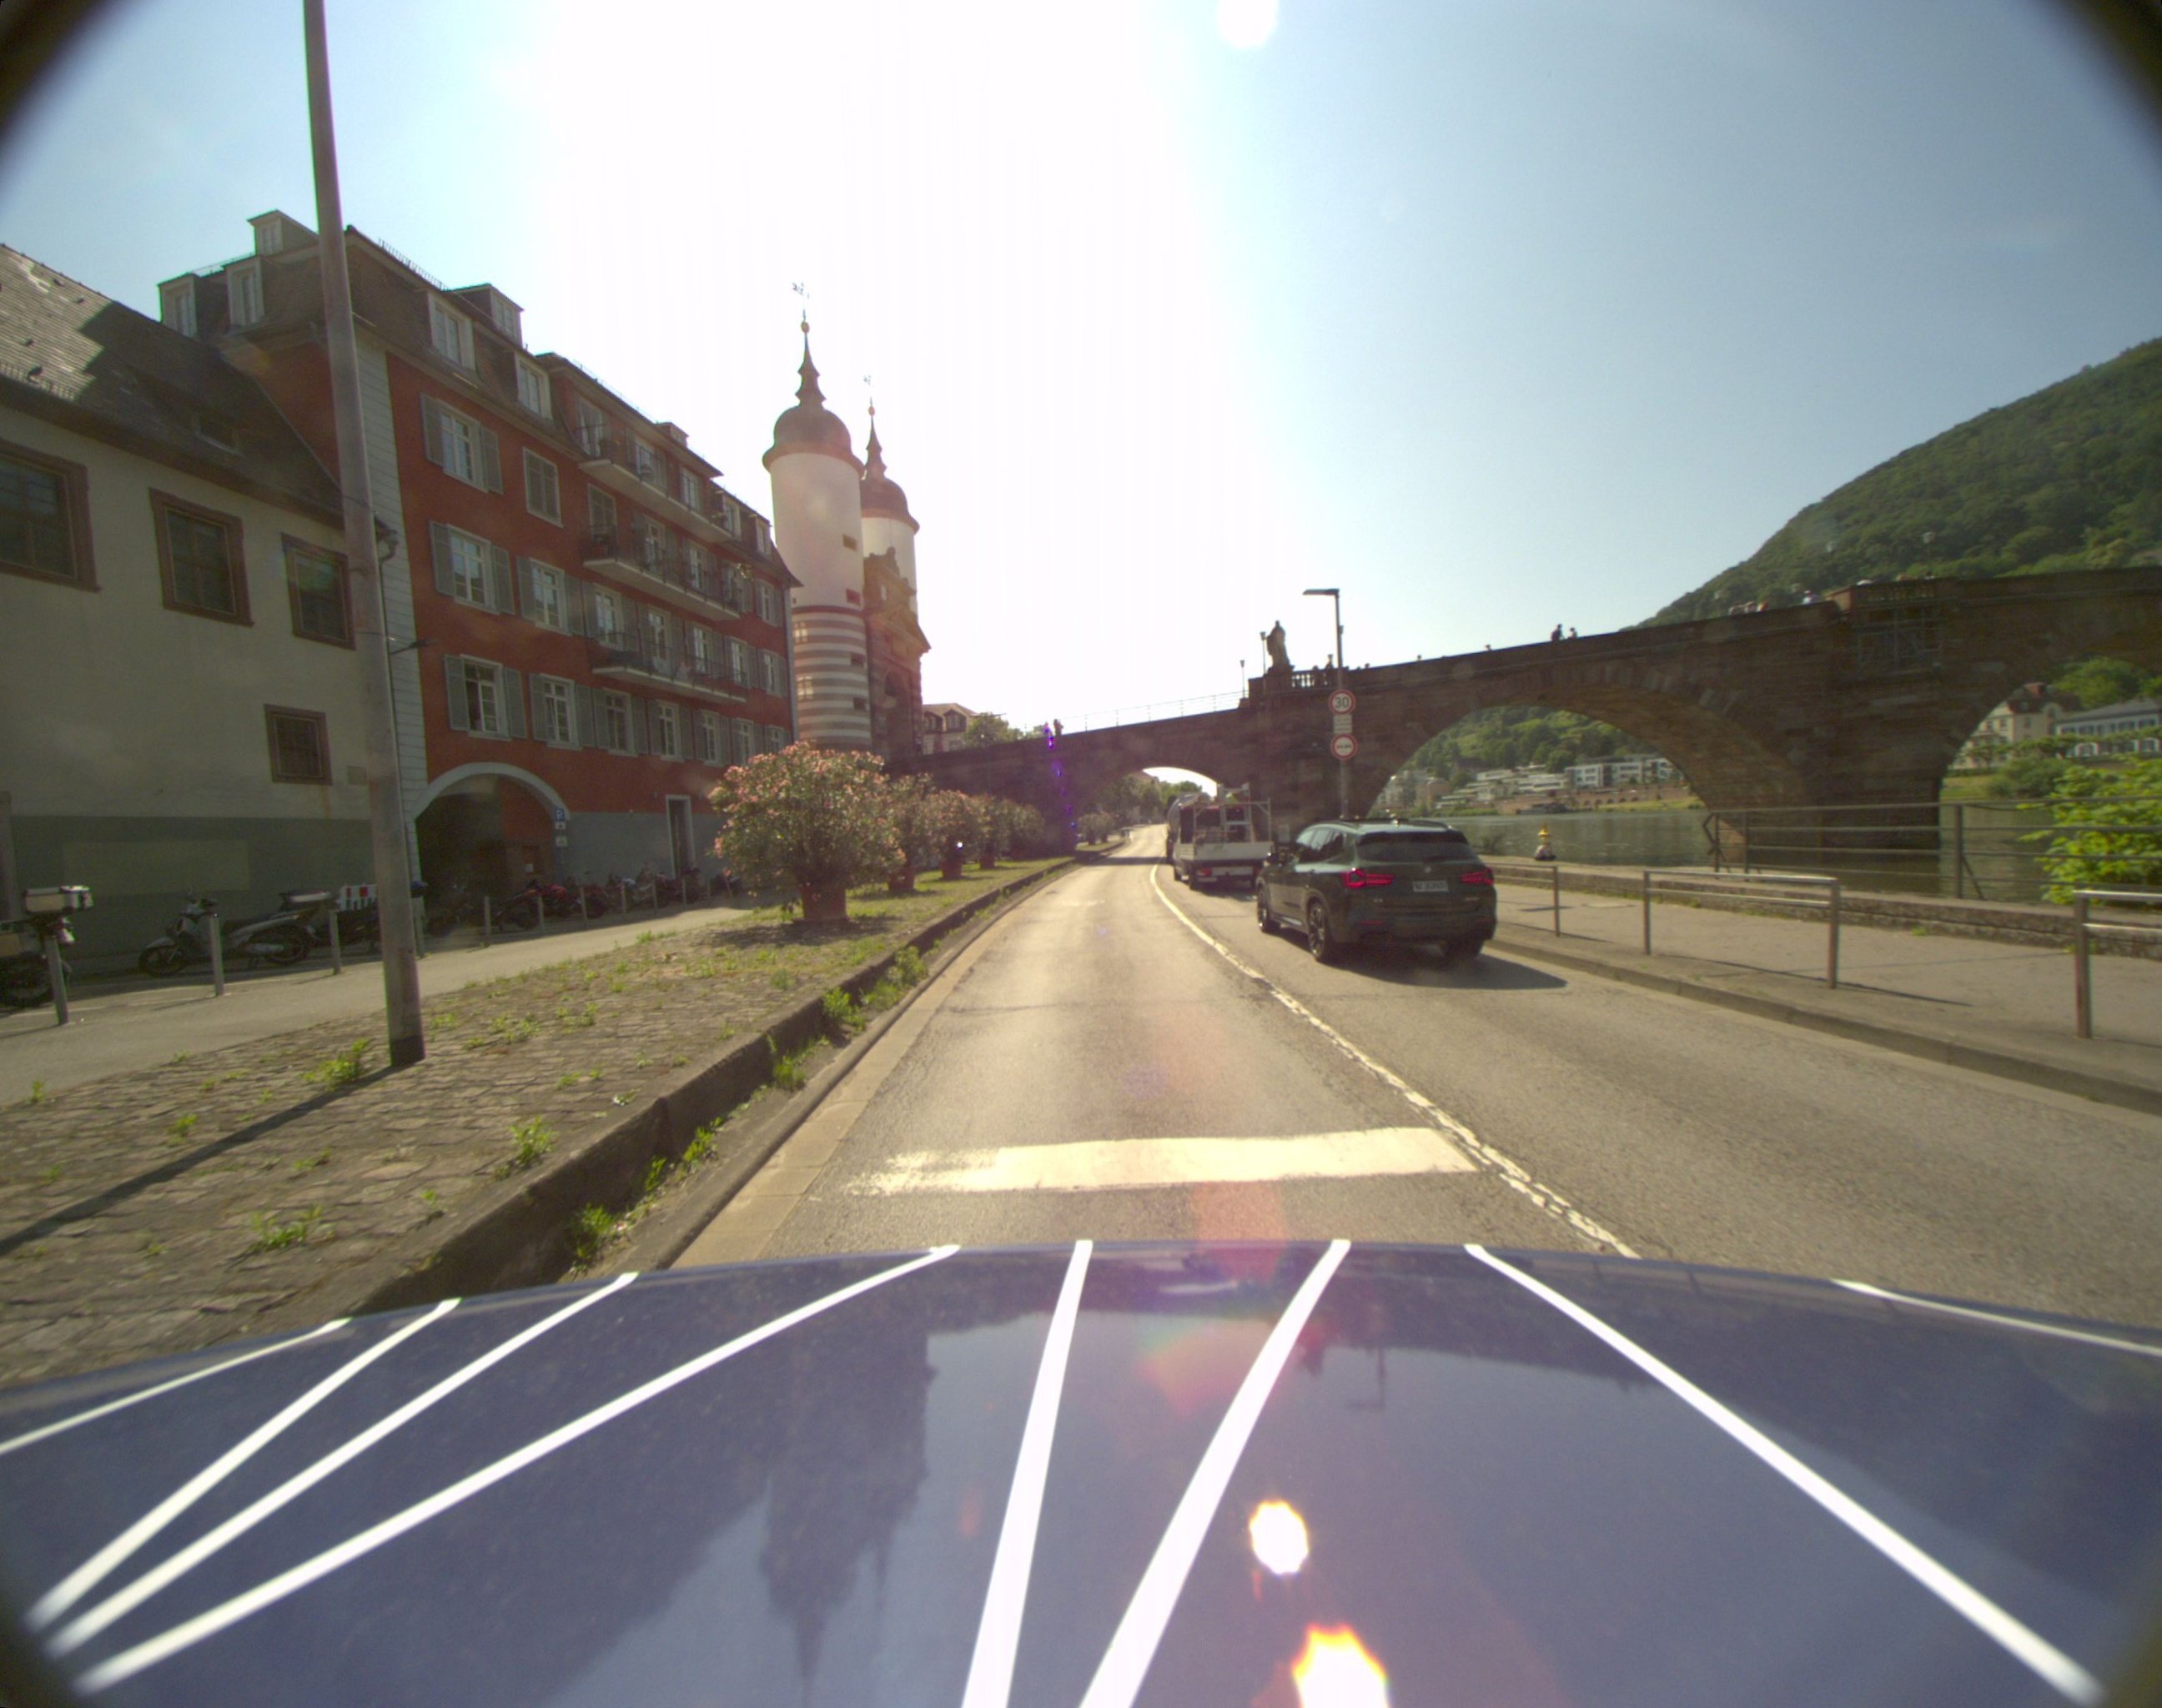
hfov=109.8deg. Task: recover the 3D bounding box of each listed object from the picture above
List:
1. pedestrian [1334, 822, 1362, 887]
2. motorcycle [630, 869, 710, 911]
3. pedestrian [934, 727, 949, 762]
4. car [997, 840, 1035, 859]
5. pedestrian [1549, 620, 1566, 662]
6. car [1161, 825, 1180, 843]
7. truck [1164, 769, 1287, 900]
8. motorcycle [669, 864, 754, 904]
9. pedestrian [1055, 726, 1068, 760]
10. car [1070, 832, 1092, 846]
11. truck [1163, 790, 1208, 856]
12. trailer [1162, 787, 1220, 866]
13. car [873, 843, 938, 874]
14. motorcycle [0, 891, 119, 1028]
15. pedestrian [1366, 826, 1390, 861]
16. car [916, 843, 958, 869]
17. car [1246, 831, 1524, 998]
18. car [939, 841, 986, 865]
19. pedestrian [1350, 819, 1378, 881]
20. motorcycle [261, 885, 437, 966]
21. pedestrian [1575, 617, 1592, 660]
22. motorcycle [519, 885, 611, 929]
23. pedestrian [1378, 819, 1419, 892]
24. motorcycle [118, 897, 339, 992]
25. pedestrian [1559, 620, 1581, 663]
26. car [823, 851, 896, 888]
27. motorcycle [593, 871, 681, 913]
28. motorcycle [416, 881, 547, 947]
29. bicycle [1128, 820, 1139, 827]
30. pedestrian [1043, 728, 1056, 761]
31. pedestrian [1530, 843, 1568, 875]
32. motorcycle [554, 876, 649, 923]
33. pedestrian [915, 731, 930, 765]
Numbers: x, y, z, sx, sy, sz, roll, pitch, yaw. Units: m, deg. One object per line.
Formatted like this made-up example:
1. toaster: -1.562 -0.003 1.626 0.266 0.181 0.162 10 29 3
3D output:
1. pedestrian: 7.583 0.003 21.548 0.520 1.783 0.823 -2 2 32
2. motorcycle: -13.475 1.148 24.947 2.156 1.226 0.840 -3 2 -35
3. pedestrian: -8.432 -6.598 45.891 0.639 2.003 0.707 -1 3 8
4. car: -5.380 -0.426 63.299 1.720 1.404 3.886 0 3 18
5. pedestrian: 24.802 -11.105 39.575 0.467 2.003 0.639 -2 3 1
6. car: 9.632 -2.178 81.682 1.878 1.818 4.545 0 3 9
7. truck: 4.027 -0.608 22.811 2.382 3.243 7.609 -1 2 1
8. motorcycle: -13.026 1.024 26.818 2.547 1.226 0.840 -3 2 -35
9. pedestrian: -1.183 -6.867 47.017 0.639 2.003 0.707 -1 3 8
10. car: 0.019 -1.738 86.301 1.614 1.406 3.905 -2 3 13
11. truck: 6.356 -1.843 46.768 2.529 3.728 6.247 0 2 7
12. trailer: 5.753 -1.445 41.222 2.529 3.624 11.532 -1 2 5
13. car: -9.771 0.230 42.614 1.896 1.484 4.418 -1 2 11
14. motorcycle: -13.658 1.316 9.017 2.501 1.524 1.051 -3 2 -33
15. pedestrian: 14.378 -0.514 36.805 0.790 1.641 0.774 -3 1 3
16. car: -8.892 0.075 47.154 1.557 1.412 3.570 -2 2 7
17. car: 3.594 0.575 9.988 1.867 1.671 4.453 -1 1 0
18. car: -8.083 -0.106 52.212 1.778 1.429 4.494 -2 3 10
19. pedestrian: 8.287 -0.124 22.246 0.543 1.783 0.823 -2 2 32
20. motorcycle: -13.451 1.279 14.065 2.201 1.260 0.627 -3 2 -30
21. pedestrian: 26.108 -11.190 39.501 0.467 2.003 0.639 -2 3 1
22. motorcycle: -13.667 1.376 20.169 1.935 0.981 0.546 -3 2 -38
23. pedestrian: 7.745 0.023 18.525 0.758 1.713 0.543 -4 2 -32
24. motorcycle: -13.680 1.417 12.303 2.239 1.245 0.627 -3 1 -30
25. pedestrian: 25.444 -11.055 39.538 0.694 2.003 0.625 -2 3 1
26. car: -10.970 0.739 37.928 1.674 1.534 3.813 -3 2 14
27. motorcycle: -13.564 1.137 23.240 2.202 1.070 0.626 -3 2 -38
28. motorcycle: -13.570 1.328 17.300 2.186 1.260 0.781 -3 2 -30
29. bicycle: 10.705 -6.190 155.677 2.159 1.361 0.584 1 4 11
30. pedestrian: -2.007 -6.890 47.978 0.639 2.003 0.707 -1 3 8
31. pedestrian: 17.378 0.191 28.245 0.967 1.124 0.831 -2 2 10
32. motorcycle: -13.729 1.267 21.784 2.202 1.141 0.626 -3 2 -38
33. pedestrian: -9.661 -6.478 46.404 0.579 2.003 0.707 -1 3 8
